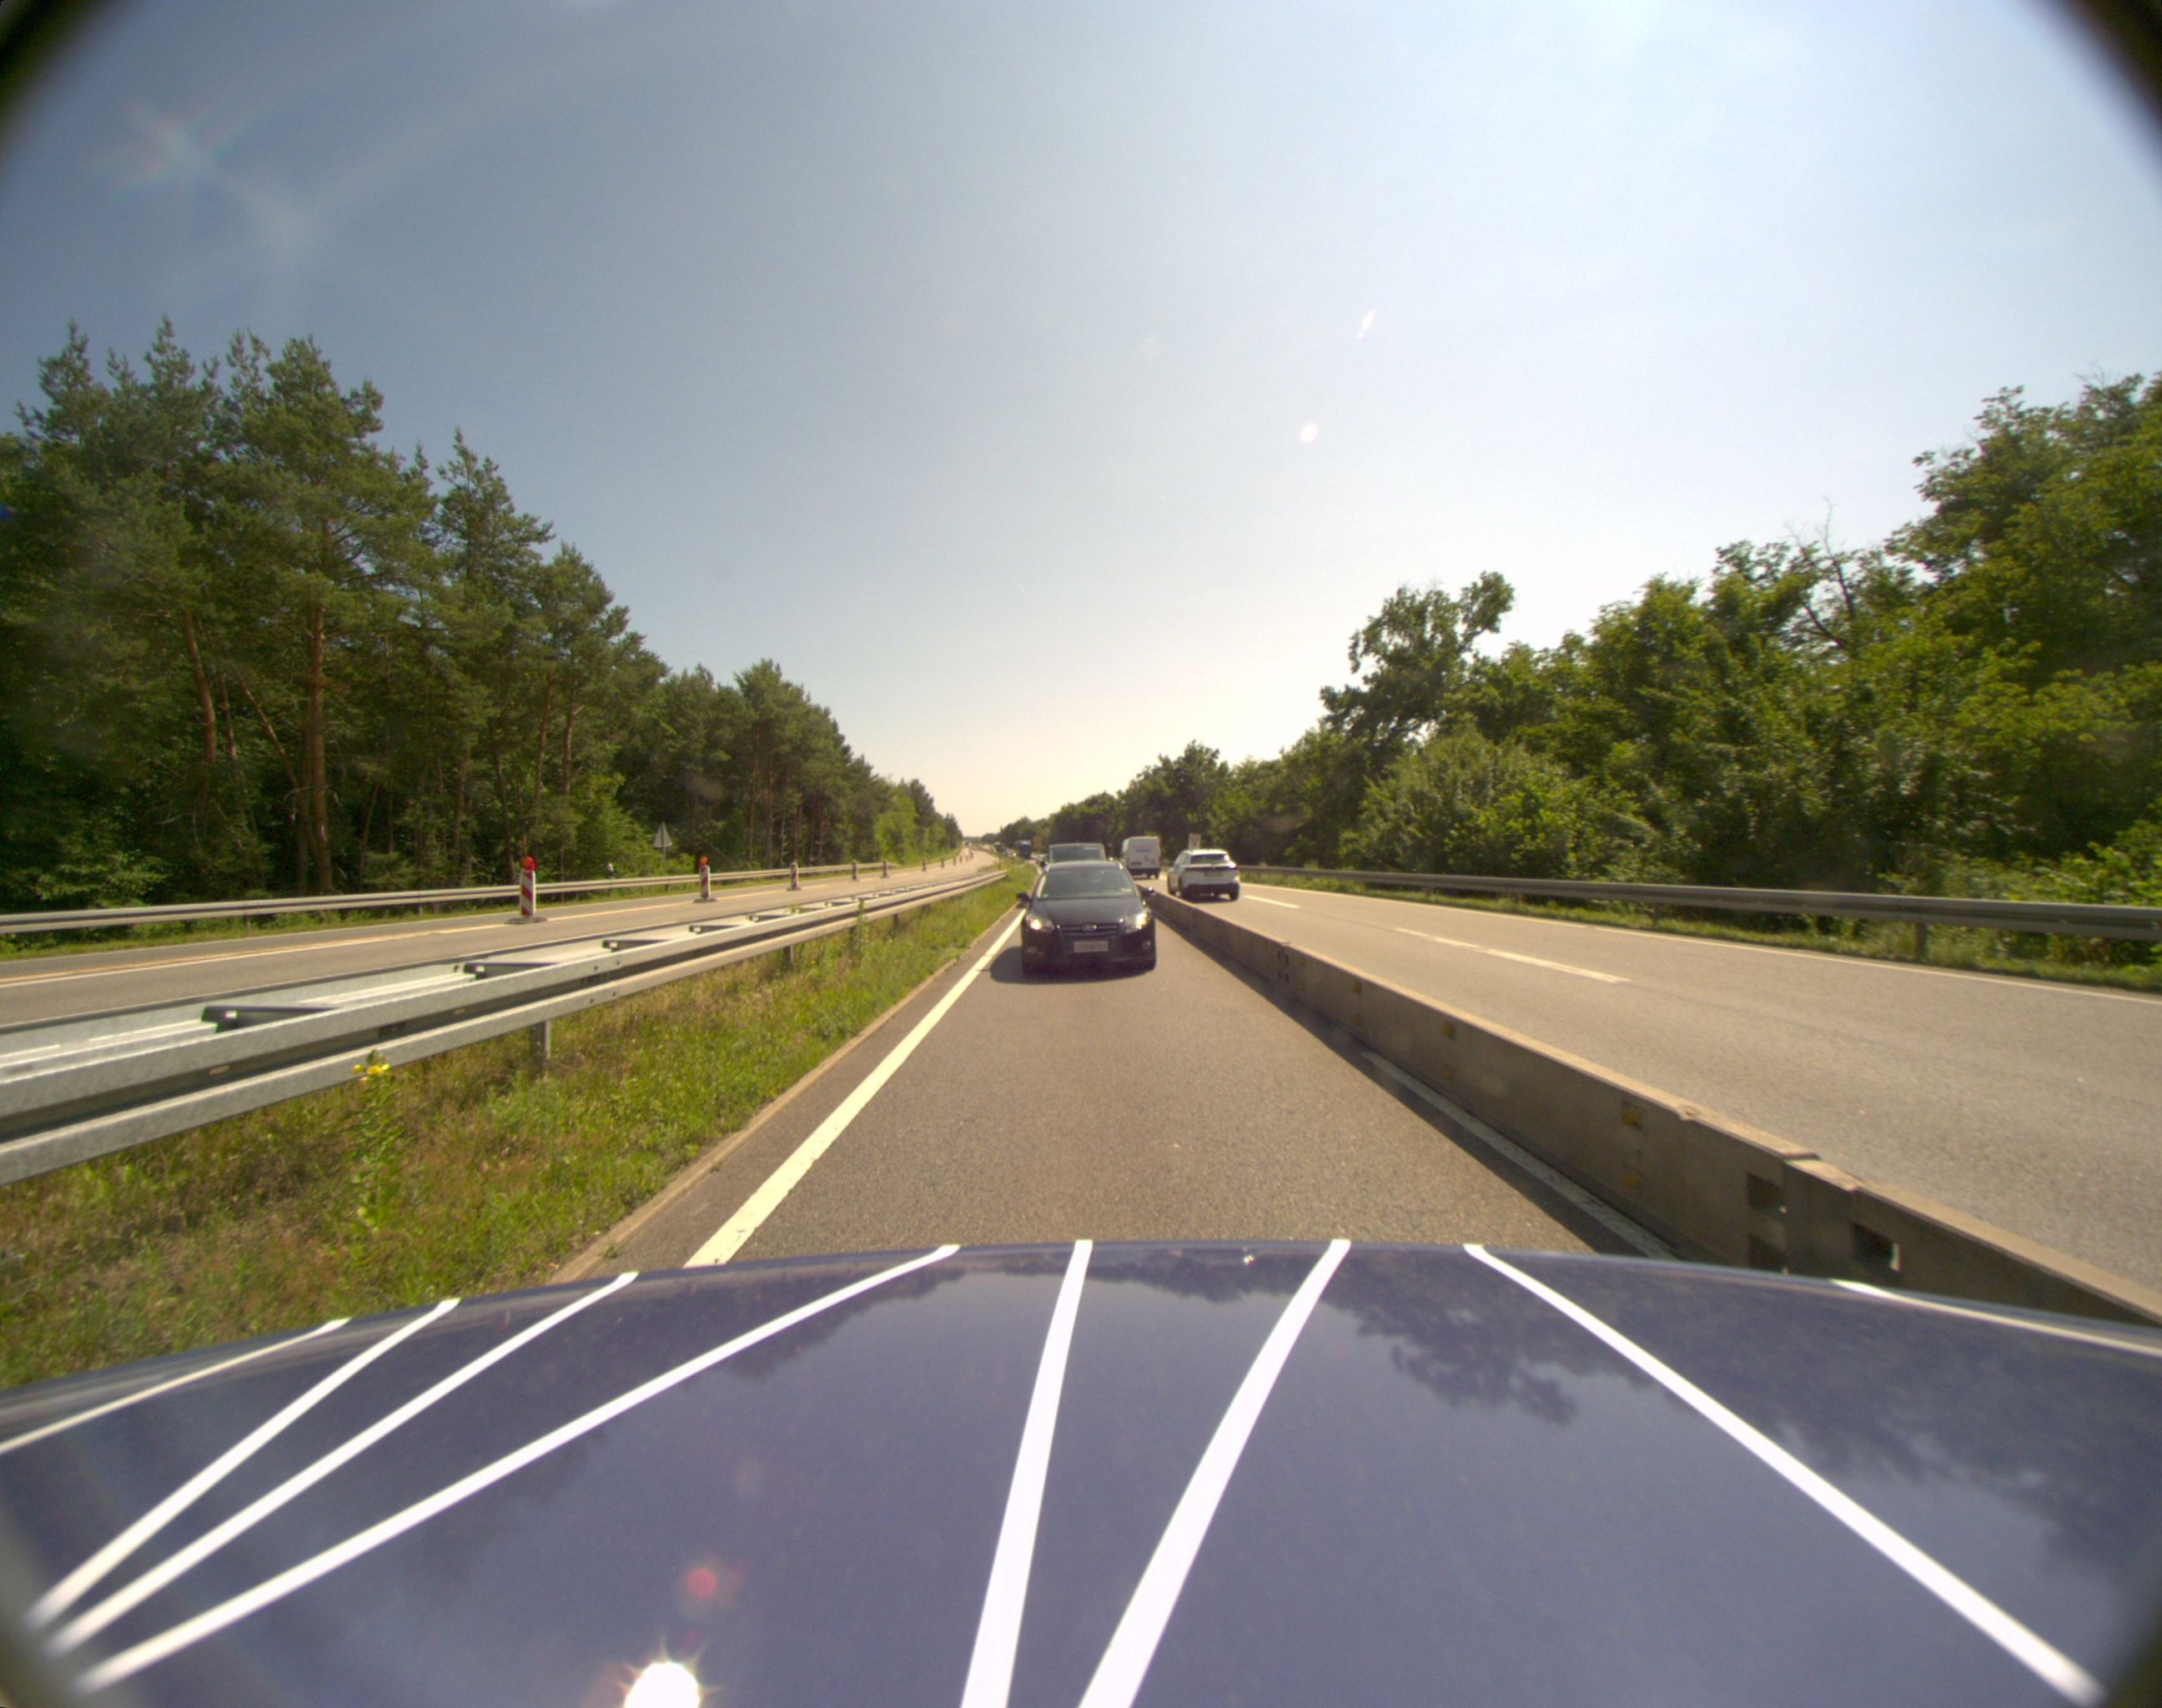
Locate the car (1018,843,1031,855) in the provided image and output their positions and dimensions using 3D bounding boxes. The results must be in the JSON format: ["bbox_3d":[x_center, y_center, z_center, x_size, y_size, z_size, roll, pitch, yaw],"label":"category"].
[{"bbox_3d":[-9.053,-0.808,122.484,1.999,1.773,3.999,-1,0,-3],"label":"car"}]

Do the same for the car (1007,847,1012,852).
[{"bbox_3d":[-23.281,-1.489,246.410,1.528,1.647,3.978,-1,0,-6],"label":"car"}]

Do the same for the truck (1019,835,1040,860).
[{"bbox_3d":[-11.307,-1.390,165.848,3.832,5.266,11.238,-1,0,-8],"label":"truck"}]

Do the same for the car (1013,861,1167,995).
[{"bbox_3d":[0.006,0.915,11.710,1.847,1.537,4.934,-1,0,-3],"label":"car"}]

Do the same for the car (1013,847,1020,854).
[{"bbox_3d":[-17.736,-0.964,208.740,1.527,1.647,3.979,-1,0,-3],"label":"car"}]

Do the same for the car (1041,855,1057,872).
[{"bbox_3d":[-3.359,0.969,79.454,1.527,1.647,3.979,-1,0,-3],"label":"car"}]

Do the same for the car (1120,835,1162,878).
[{"bbox_3d":[3.670,0.164,47.446,2.067,2.471,5.559,-2,0,-1],"label":"car"}]

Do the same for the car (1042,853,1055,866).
[{"bbox_3d":[-4.211,0.672,98.473,1.527,1.647,3.979,-1,0,-3],"label":"car"}]

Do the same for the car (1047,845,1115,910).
[{"bbox_3d":[-0.098,0.691,25.254,1.960,1.901,4.933,-1,0,-3],"label":"car"}]

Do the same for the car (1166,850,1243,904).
[{"bbox_3d":[3.990,0.697,25.235,1.853,1.592,4.321,-1,0,0],"label":"car"}]
